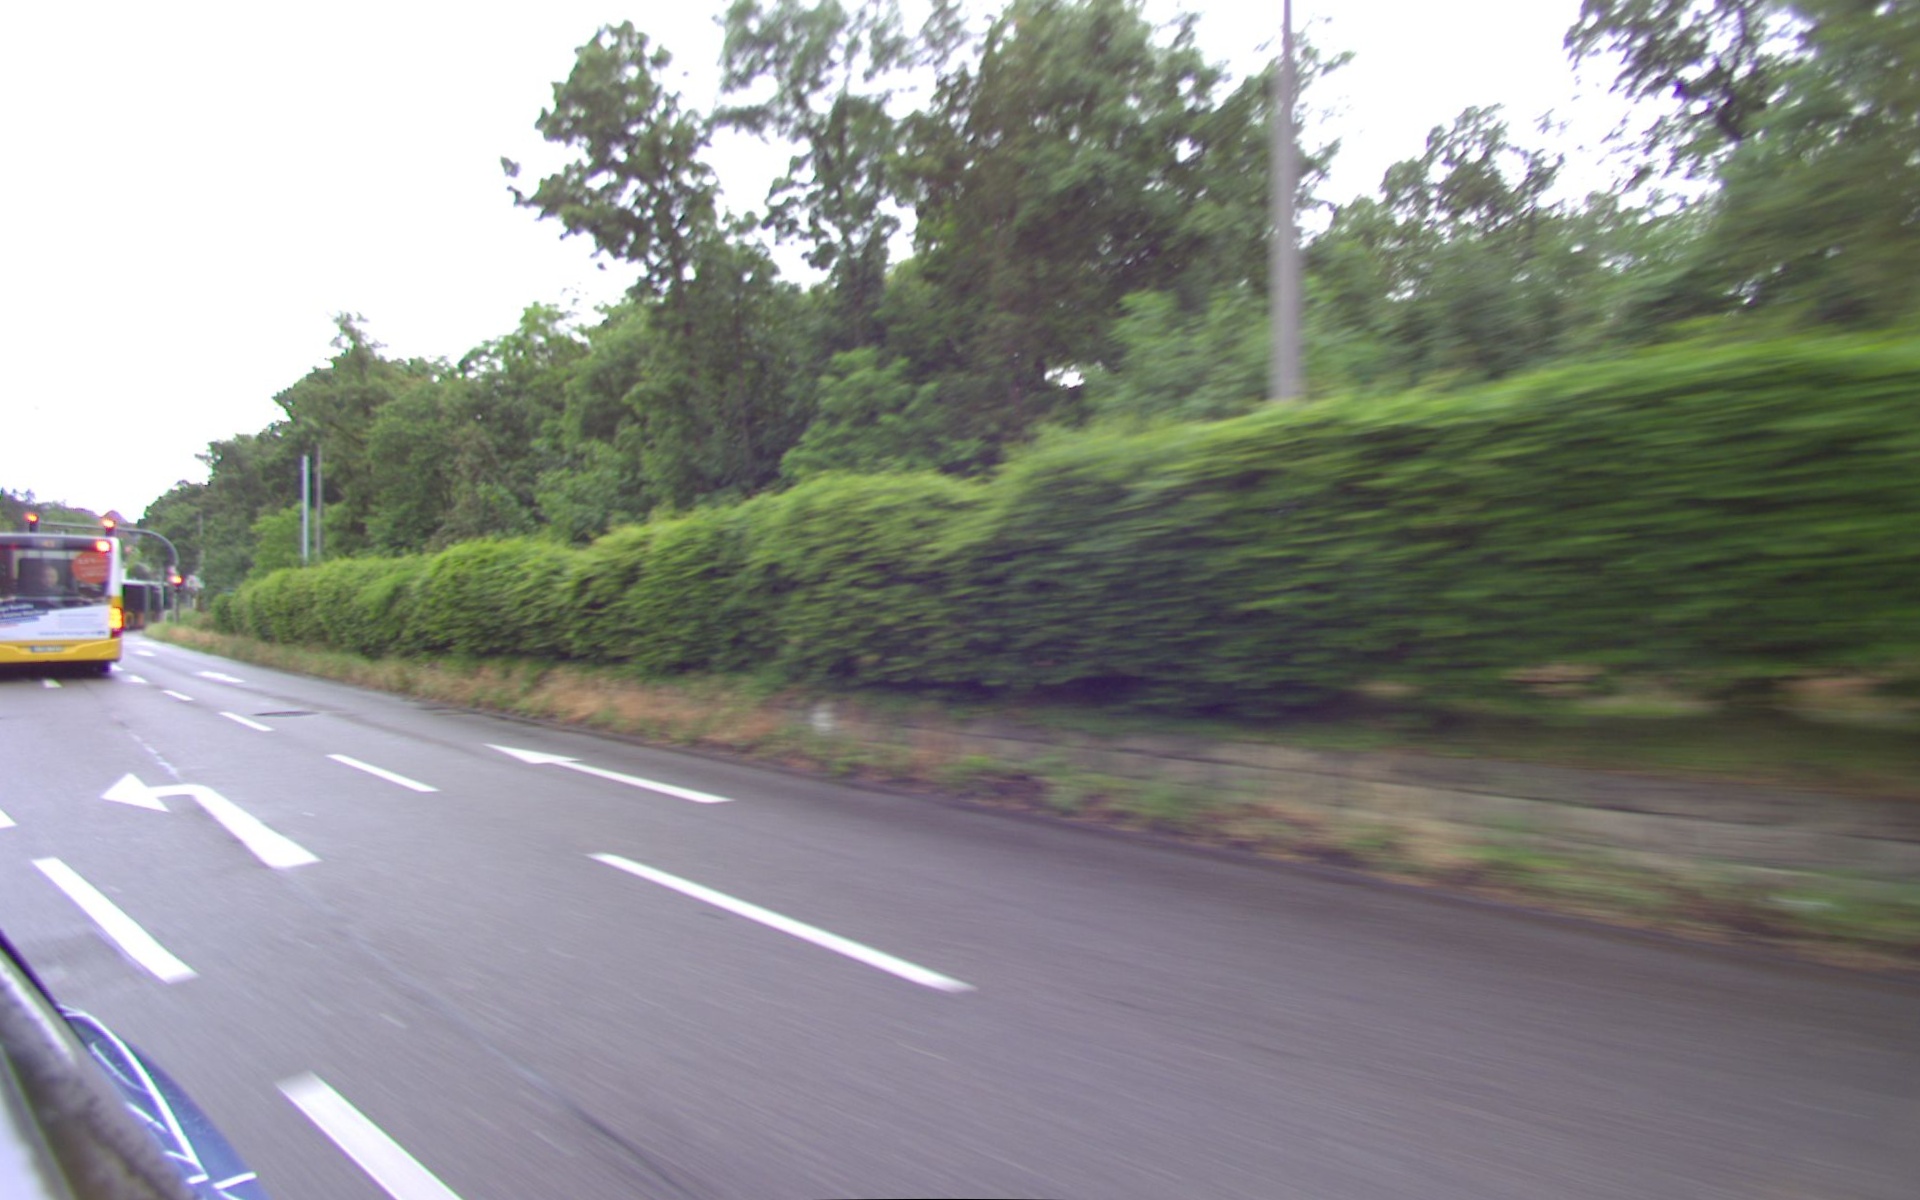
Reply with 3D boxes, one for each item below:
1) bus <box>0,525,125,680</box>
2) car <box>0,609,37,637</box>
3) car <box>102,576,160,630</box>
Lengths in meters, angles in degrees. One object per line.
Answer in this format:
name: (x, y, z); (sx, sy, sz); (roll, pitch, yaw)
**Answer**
bus: (-22.088, 0.088, 24.342); (2.564, 3.182, 8.644); (0, -1, -43)
car: (-52.680, 1.235, 54.611); (1.974, 1.541, 3.996); (0, -1, 3)
car: (-58.535, 0.236, 71.586); (2.812, 3.616, 6.620); (2, -2, -37)
